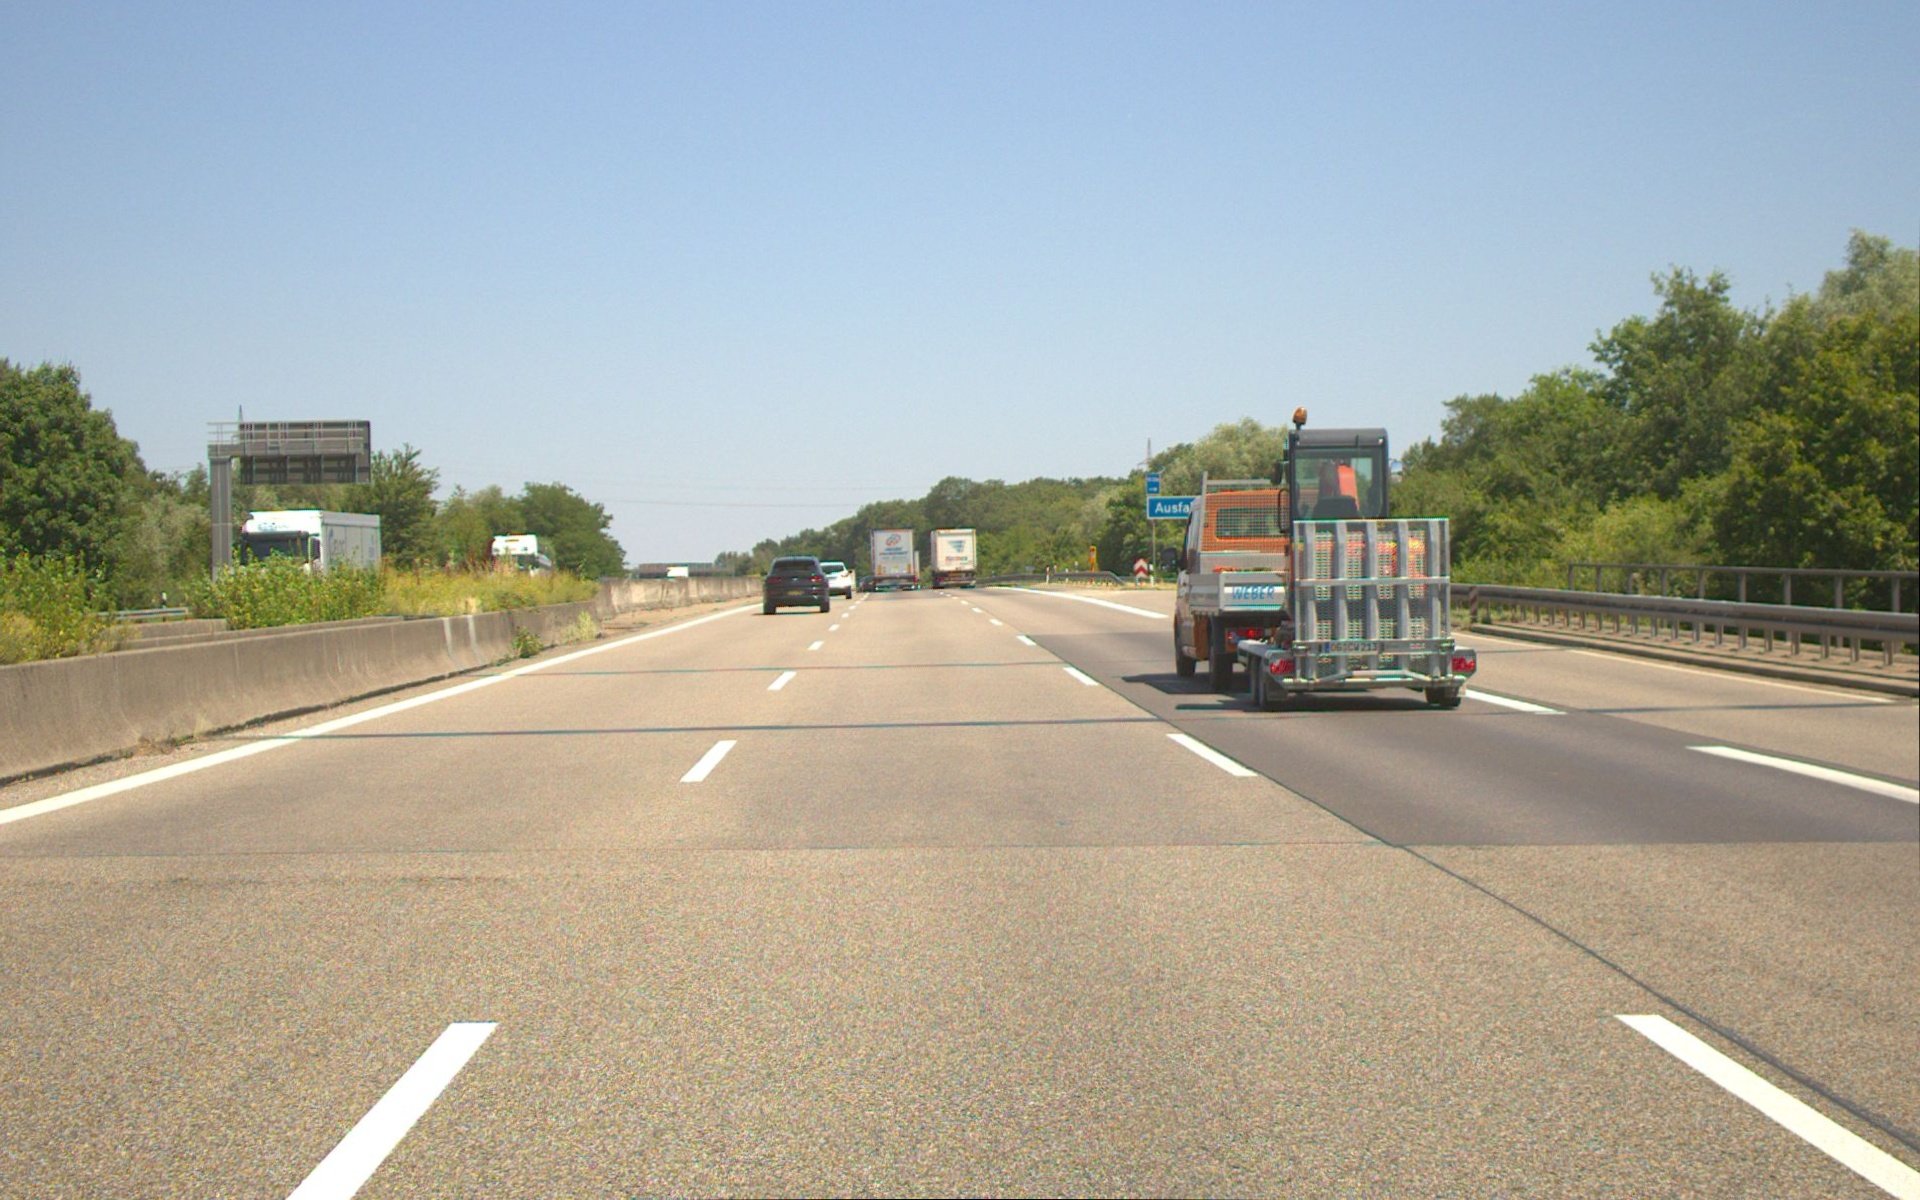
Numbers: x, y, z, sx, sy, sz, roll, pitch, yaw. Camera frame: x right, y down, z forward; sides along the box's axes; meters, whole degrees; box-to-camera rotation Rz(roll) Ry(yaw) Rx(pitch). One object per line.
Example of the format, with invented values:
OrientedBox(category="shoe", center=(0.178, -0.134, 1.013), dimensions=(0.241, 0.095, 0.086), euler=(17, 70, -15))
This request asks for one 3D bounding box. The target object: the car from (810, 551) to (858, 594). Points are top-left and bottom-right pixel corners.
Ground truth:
OrientedBox(category="car", center=(-5.583, -1.230, 152.467), dimensions=(1.993, 1.868, 4.000), euler=(-1, 1, -1))

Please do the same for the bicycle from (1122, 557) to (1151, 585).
OrientedBox(category="bicycle", center=(7.243, -1.185, 140.762), dimensions=(0.960, 1.153, 2.606), euler=(1, 1, 7))

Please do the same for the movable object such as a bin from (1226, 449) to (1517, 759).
OrientedBox(category="movable object such as a bin", center=(3.991, 0.014, 34.177), dimensions=(2.174, 2.806, 4.761), euler=(-2, 1, -1))

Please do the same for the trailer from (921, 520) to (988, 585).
OrientedBox(category="trailer", center=(-0.413, -3.146, 227.767), dimensions=(3.367, 4.128, 9.093), euler=(1, 1, -6))

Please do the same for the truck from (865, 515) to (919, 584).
OrientedBox(category="truck", center=(-4.283, -3.141, 214.938), dimensions=(3.229, 4.188, 8.467), euler=(0, 1, -2))

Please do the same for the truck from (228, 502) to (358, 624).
OrientedBox(category="truck", center=(-23.328, -1.317, 120.650), dimensions=(2.984, 4.062, 8.194), euler=(-2, 1, -1))

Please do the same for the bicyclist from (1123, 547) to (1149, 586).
OrientedBox(category="bicyclist", center=(7.213, -1.379, 140.656), dimensions=(0.960, 1.590, 0.807), euler=(1, 0, 7))

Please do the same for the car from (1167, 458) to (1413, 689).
OrientedBox(category="car", center=(3.722, -0.318, 40.117), dimensions=(1.993, 2.397, 7.227), euler=(-2, 1, -1))

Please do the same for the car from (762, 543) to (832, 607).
OrientedBox(category="car", center=(-4.975, -0.761, 105.363), dimensions=(1.993, 1.868, 4.000), euler=(-2, 1, -1))

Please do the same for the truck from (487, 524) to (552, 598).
OrientedBox(category="truck", center=(-24.840, -2.179, 194.190), dimensions=(2.807, 4.033, 7.731), euler=(1, 1, -2))
